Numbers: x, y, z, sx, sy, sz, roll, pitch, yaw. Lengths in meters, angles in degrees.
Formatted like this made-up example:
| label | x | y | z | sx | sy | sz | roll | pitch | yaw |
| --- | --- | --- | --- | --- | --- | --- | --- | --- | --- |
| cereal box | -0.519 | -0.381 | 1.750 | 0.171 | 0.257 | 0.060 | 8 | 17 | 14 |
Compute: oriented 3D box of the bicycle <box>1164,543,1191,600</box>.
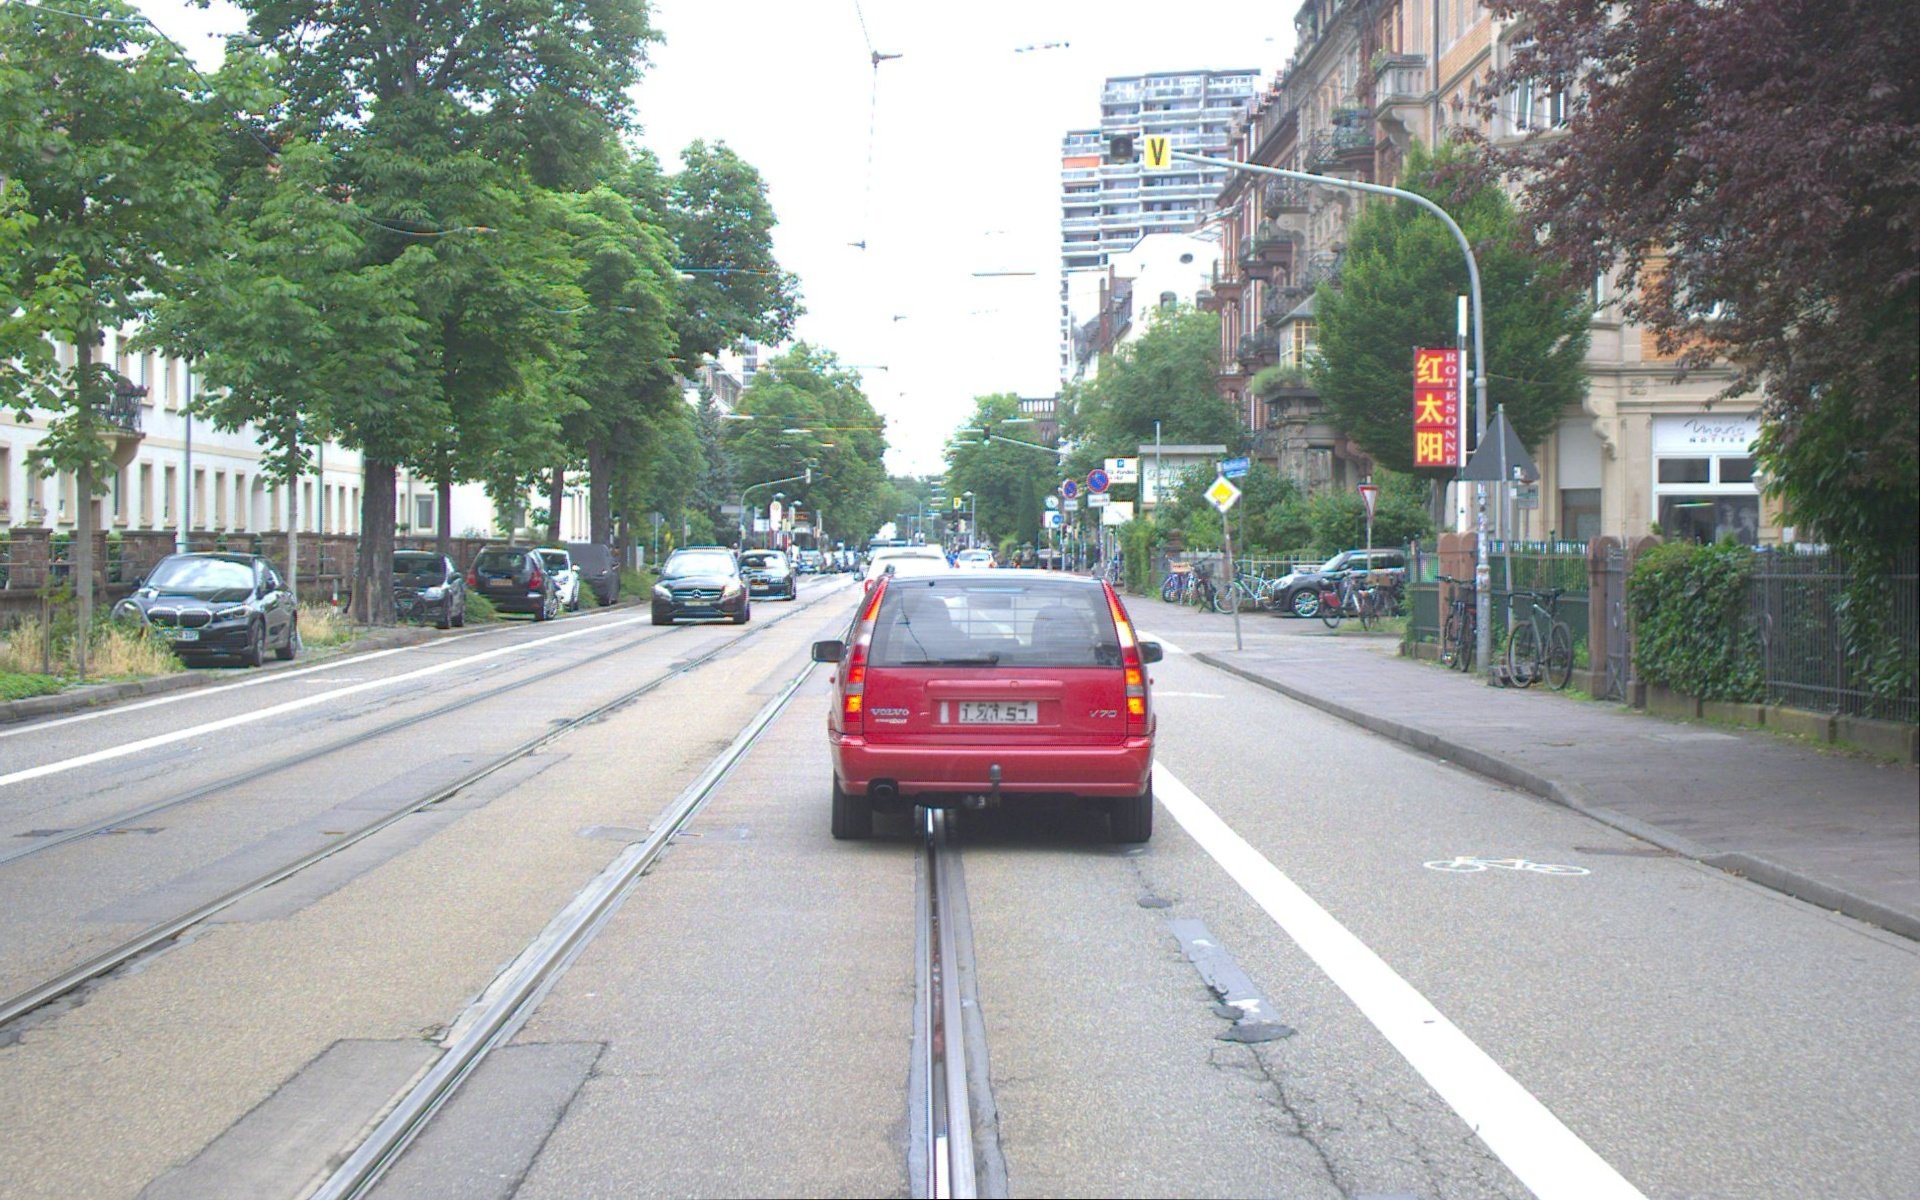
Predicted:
| label | x | y | z | sx | sy | sz | roll | pitch | yaw |
| --- | --- | --- | --- | --- | --- | --- | --- | --- | --- |
| bicycle | 5.456 | -0.722 | 86.220 | 0.551 | 1.395 | 1.734 | 0 | 1 | 0 |

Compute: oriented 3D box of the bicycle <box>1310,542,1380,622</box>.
| label | x | y | z | sx | sy | sz | roll | pitch | yaw |
| --- | --- | --- | --- | --- | --- | --- | --- | --- | --- |
| bicycle | 7.470 | -0.357 | 66.629 | 0.918 | 1.501 | 2.379 | 1 | 1 | 16 |

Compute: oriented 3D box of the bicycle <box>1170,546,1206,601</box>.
| label | x | y | z | sx | sy | sz | roll | pitch | yaw |
| --- | --- | --- | --- | --- | --- | --- | --- | --- | --- |
| bicycle | 5.472 | -0.640 | 82.535 | 0.708 | 1.296 | 1.904 | 0 | 1 | 0 |

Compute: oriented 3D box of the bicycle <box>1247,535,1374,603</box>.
| label | x | y | z | sx | sy | sz | roll | pitch | yaw |
| --- | --- | --- | --- | --- | --- | --- | --- | --- | --- |
| bicycle | 8.631 | -0.773 | 84.737 | 2.975 | 1.619 | 1.050 | 1 | 1 | -2 |

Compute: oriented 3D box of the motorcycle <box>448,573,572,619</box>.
| label | x | y | z | sx | sy | sz | roll | pitch | yaw |
| --- | --- | --- | --- | --- | --- | --- | --- | --- | --- |
| motorcycle | -10.595 | -0.099 | 81.047 | 2.869 | 1.073 | 1.100 | 0 | 1 | -7 |

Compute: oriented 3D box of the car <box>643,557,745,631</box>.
| label | x | y | z | sx | sy | sz | roll | pitch | yaw |
| --- | --- | --- | --- | --- | --- | --- | --- | --- | --- |
| car | -5.166 | -0.137 | 67.166 | 1.755 | 1.375 | 4.027 | 0 | 1 | -1 |

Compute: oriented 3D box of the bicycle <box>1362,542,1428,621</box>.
| label | x | y | z | sx | sy | sz | roll | pitch | yaw |
| --- | --- | --- | --- | --- | --- | --- | --- | --- | --- |
| bicycle | 8.586 | -0.375 | 67.779 | 0.918 | 1.501 | 2.379 | 1 | 1 | 16 |

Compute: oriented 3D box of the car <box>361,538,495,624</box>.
| label | x | y | z | sx | sy | sz | roll | pitch | yaw |
| --- | --- | --- | --- | --- | --- | --- | --- | --- | --- |
| car | -9.515 | -0.371 | 61.712 | 1.718 | 1.477 | 4.000 | 1 | 1 | 1 |

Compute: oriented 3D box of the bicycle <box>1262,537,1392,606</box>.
| label | x | y | z | sx | sy | sz | roll | pitch | yaw |
| --- | --- | --- | --- | --- | --- | --- | --- | --- | --- |
| bicycle | 8.907 | -0.694 | 83.498 | 2.975 | 1.619 | 1.050 | 1 | 1 | -2 |

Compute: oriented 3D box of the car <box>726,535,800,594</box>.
| label | x | y | z | sx | sy | sz | roll | pitch | yaw |
| --- | --- | --- | --- | --- | --- | --- | --- | --- | --- |
| car | -5.614 | -1.039 | 98.331 | 1.894 | 1.605 | 4.500 | 1 | 1 | -1 |

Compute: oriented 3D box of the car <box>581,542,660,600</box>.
| label | x | y | z | sx | sy | sz | roll | pitch | yaw |
| --- | --- | --- | --- | --- | --- | --- | --- | --- | --- |
| car | -8.983 | -0.796 | 91.109 | 1.720 | 1.481 | 4.000 | 0 | 1 | 0 |

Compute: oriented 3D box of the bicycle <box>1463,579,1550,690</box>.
| label | x | y | z | sx | sy | sz | roll | pitch | yaw |
| --- | --- | --- | --- | --- | --- | --- | --- | --- | --- |
| bicycle | 5.694 | 0.341 | 35.898 | 0.523 | 1.096 | 2.176 | 0 | 1 | -1 |

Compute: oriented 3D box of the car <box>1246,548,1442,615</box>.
| label | x | y | z | sx | sy | sz | roll | pitch | yaw |
| --- | --- | --- | --- | --- | --- | --- | --- | --- | --- |
| car | 8.098 | -0.394 | 72.403 | 3.988 | 1.357 | 1.891 | 0 | 1 | 10 |

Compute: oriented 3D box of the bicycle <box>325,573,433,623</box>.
| label | x | y | z | sx | sy | sz | roll | pitch | yaw |
| --- | --- | --- | --- | --- | --- | --- | --- | --- | --- |
| bicycle | -10.124 | -0.039 | 59.932 | 1.748 | 0.841 | 0.684 | 1 | 1 | 1 |

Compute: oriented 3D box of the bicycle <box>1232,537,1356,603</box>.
| label | x | y | z | sx | sy | sz | roll | pitch | yaw |
| --- | --- | --- | --- | --- | --- | --- | --- | --- | --- |
| bicycle | 8.398 | -0.757 | 86.486 | 2.975 | 1.619 | 1.050 | 1 | 1 | -2 |

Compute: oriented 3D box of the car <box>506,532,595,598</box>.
| label | x | y | z | sx | sy | sz | roll | pitch | yaw |
| --- | --- | --- | --- | --- | --- | --- | --- | --- | --- |
| car | -10.249 | -0.903 | 86.243 | 1.713 | 1.575 | 4.000 | 2 | 1 | 0 |

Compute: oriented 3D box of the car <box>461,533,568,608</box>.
| label | x | y | z | sx | sy | sz | roll | pitch | yaw |
| --- | --- | --- | --- | --- | --- | --- | --- | --- | --- |
| car | -9.650 | -0.666 | 74.695 | 1.851 | 1.557 | 3.943 | 1 | 1 | -1 |

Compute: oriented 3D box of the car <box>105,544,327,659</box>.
| label | x | y | z | sx | sy | sz | roll | pitch | yaw |
| --- | --- | --- | --- | --- | --- | --- | --- | --- | --- |
| car | -9.655 | -0.018 | 44.939 | 1.890 | 1.393 | 4.417 | 1 | 1 | 0 |

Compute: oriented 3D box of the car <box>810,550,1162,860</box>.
| label | x | y | z | sx | sy | sz | roll | pitch | yaw |
| --- | --- | --- | --- | --- | --- | --- | --- | --- | --- |
| car | 0.106 | 0.489 | 18.724 | 1.689 | 1.436 | 3.743 | 2 | 1 | -1 |

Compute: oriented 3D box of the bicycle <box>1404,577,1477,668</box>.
| label | x | y | z | sx | sy | sz | roll | pitch | yaw |
| --- | --- | --- | --- | --- | --- | --- | --- | --- | --- |
| bicycle | 5.685 | 0.248 | 40.774 | 0.523 | 1.027 | 2.176 | 0 | 1 | -1 |

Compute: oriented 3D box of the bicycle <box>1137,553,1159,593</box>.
| label | x | y | z | sx | sy | sz | roll | pitch | yaw |
| --- | --- | --- | --- | --- | --- | --- | --- | --- | --- |
| bicycle | 5.248 | -0.755 | 96.089 | 0.490 | 1.095 | 1.734 | 0 | 1 | 0 |

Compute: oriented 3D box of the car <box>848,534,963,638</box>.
| label | x | y | z | sx | sy | sz | roll | pitch | yaw |
| --- | --- | --- | --- | --- | --- | --- | --- | --- | --- |
| car | -0.873 | -0.258 | 56.684 | 1.719 | 1.619 | 3.941 | 1 | 1 | 1 |
